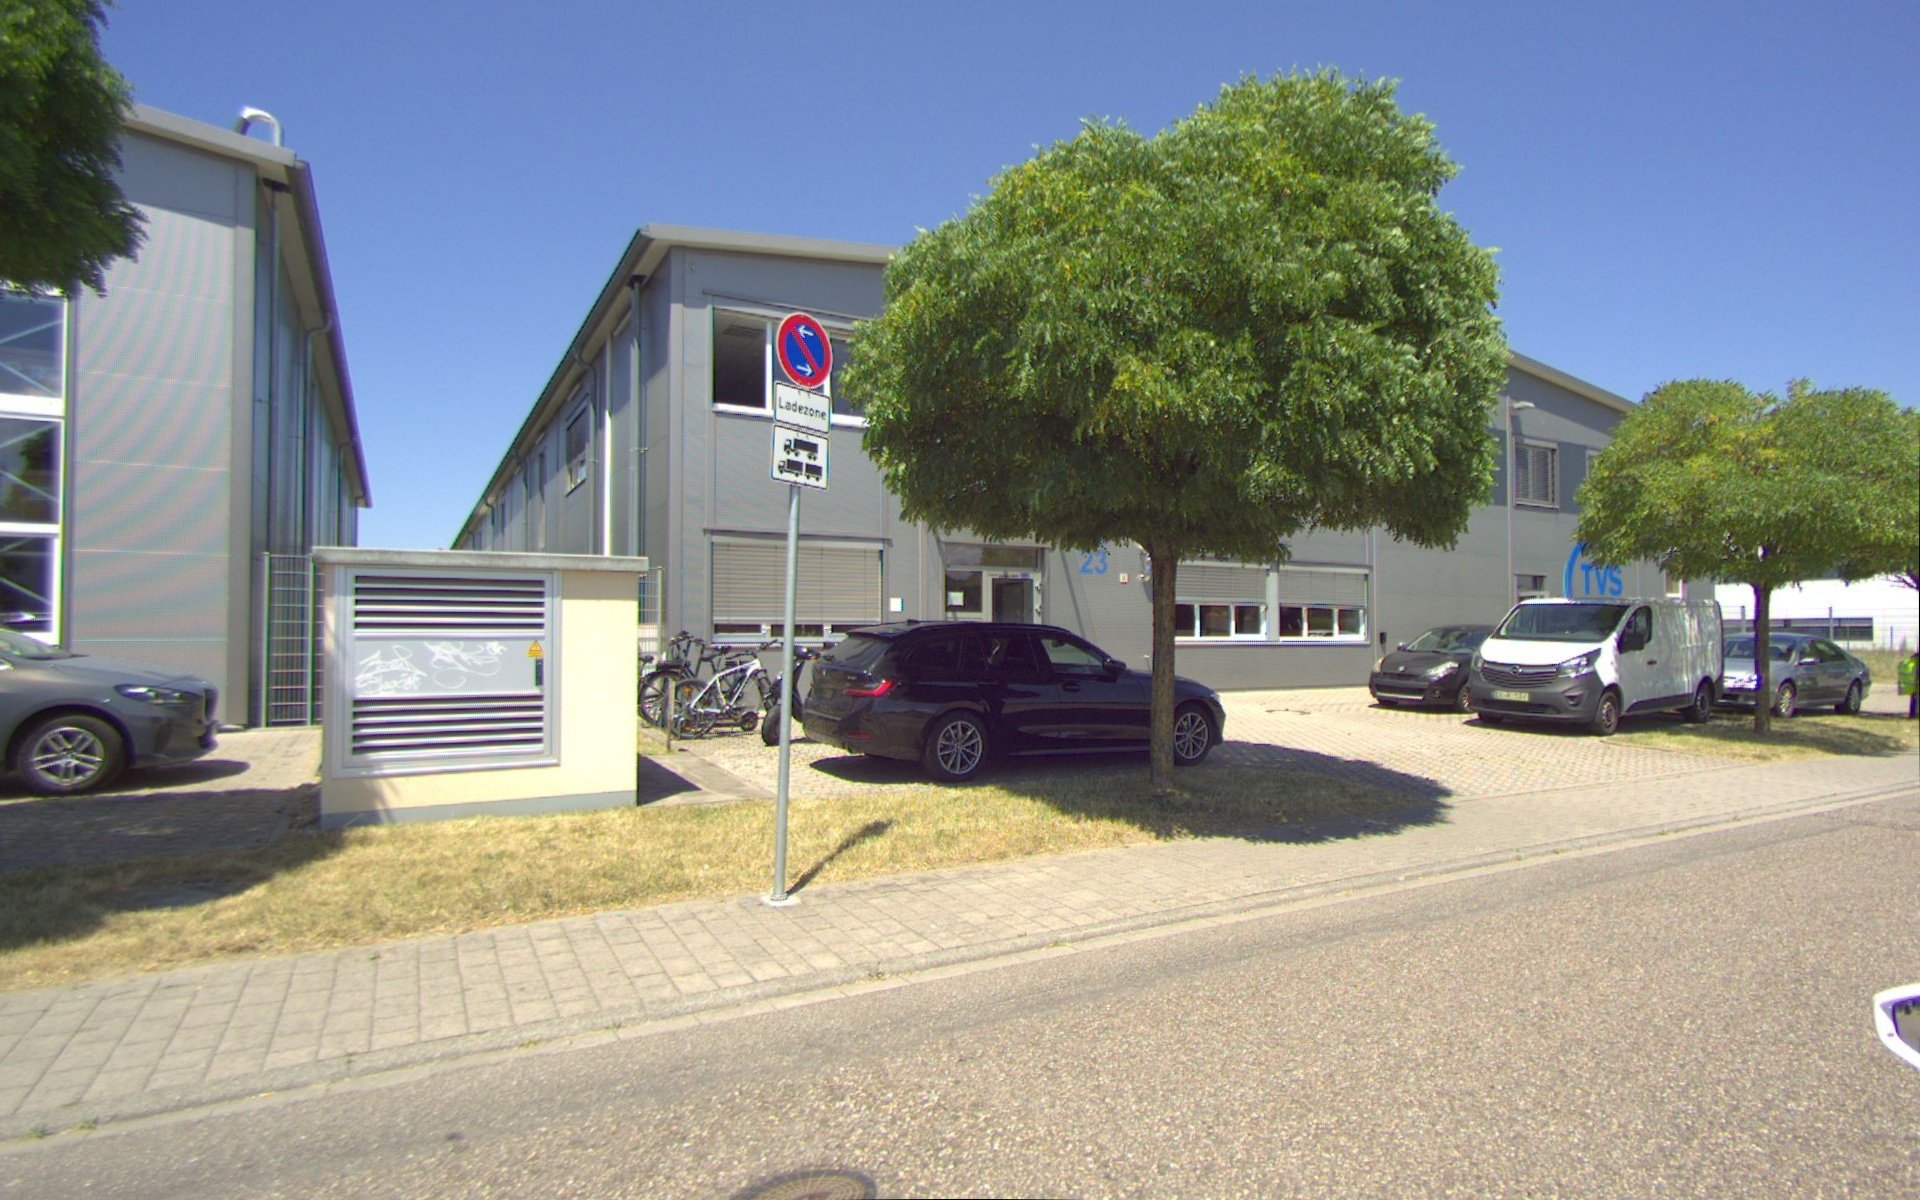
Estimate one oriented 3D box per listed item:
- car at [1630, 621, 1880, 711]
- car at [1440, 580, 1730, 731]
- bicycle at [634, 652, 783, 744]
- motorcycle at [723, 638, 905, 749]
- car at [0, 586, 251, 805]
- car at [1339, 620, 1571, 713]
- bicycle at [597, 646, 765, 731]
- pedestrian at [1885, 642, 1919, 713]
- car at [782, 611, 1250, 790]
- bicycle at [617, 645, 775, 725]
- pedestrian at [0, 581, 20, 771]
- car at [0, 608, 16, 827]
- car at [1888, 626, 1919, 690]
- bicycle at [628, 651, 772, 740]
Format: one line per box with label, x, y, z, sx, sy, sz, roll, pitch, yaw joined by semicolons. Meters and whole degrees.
car;14.542;1.184;18.331;4.783;1.459;1.919;2;-3;-29
car;9.868;0.769;15.725;5.069;2.046;1.827;1;0;-32
bicycle;-2.969;1.136;11.938;1.678;0.991;0.349;1;0;-32
motorcycle;-1.675;1.053;11.728;2.057;1.178;0.512;1;0;-32
car;-8.353;0.713;7.937;4.295;1.649;1.727;1;-1;-29
car;8.979;1.119;18.167;4.041;1.460;1.916;1;0;-32
bicycle;-3.579;1.120;12.985;2.041;0.991;0.433;1;0;-32
pedestrian;16.292;1.326;17.163;0.547;1.165;0.478;3;0;-20
car;0.673;0.882;10.399;4.658;1.473;1.757;1;0;-30
bicycle;-3.573;1.126;13.704;2.041;0.991;0.433;1;0;-32
pedestrian;-9.188;0.687;8.987;0.953;1.736;0.836;1;0;-30
car;-7.826;0.765;5.296;3.793;1.473;1.758;1;-1;-29
car;25.010;1.423;24.776;4.639;1.484;1.917;1;0;-31
bicycle;-3.168;1.149;12.337;1.678;0.991;0.349;1;0;-32
